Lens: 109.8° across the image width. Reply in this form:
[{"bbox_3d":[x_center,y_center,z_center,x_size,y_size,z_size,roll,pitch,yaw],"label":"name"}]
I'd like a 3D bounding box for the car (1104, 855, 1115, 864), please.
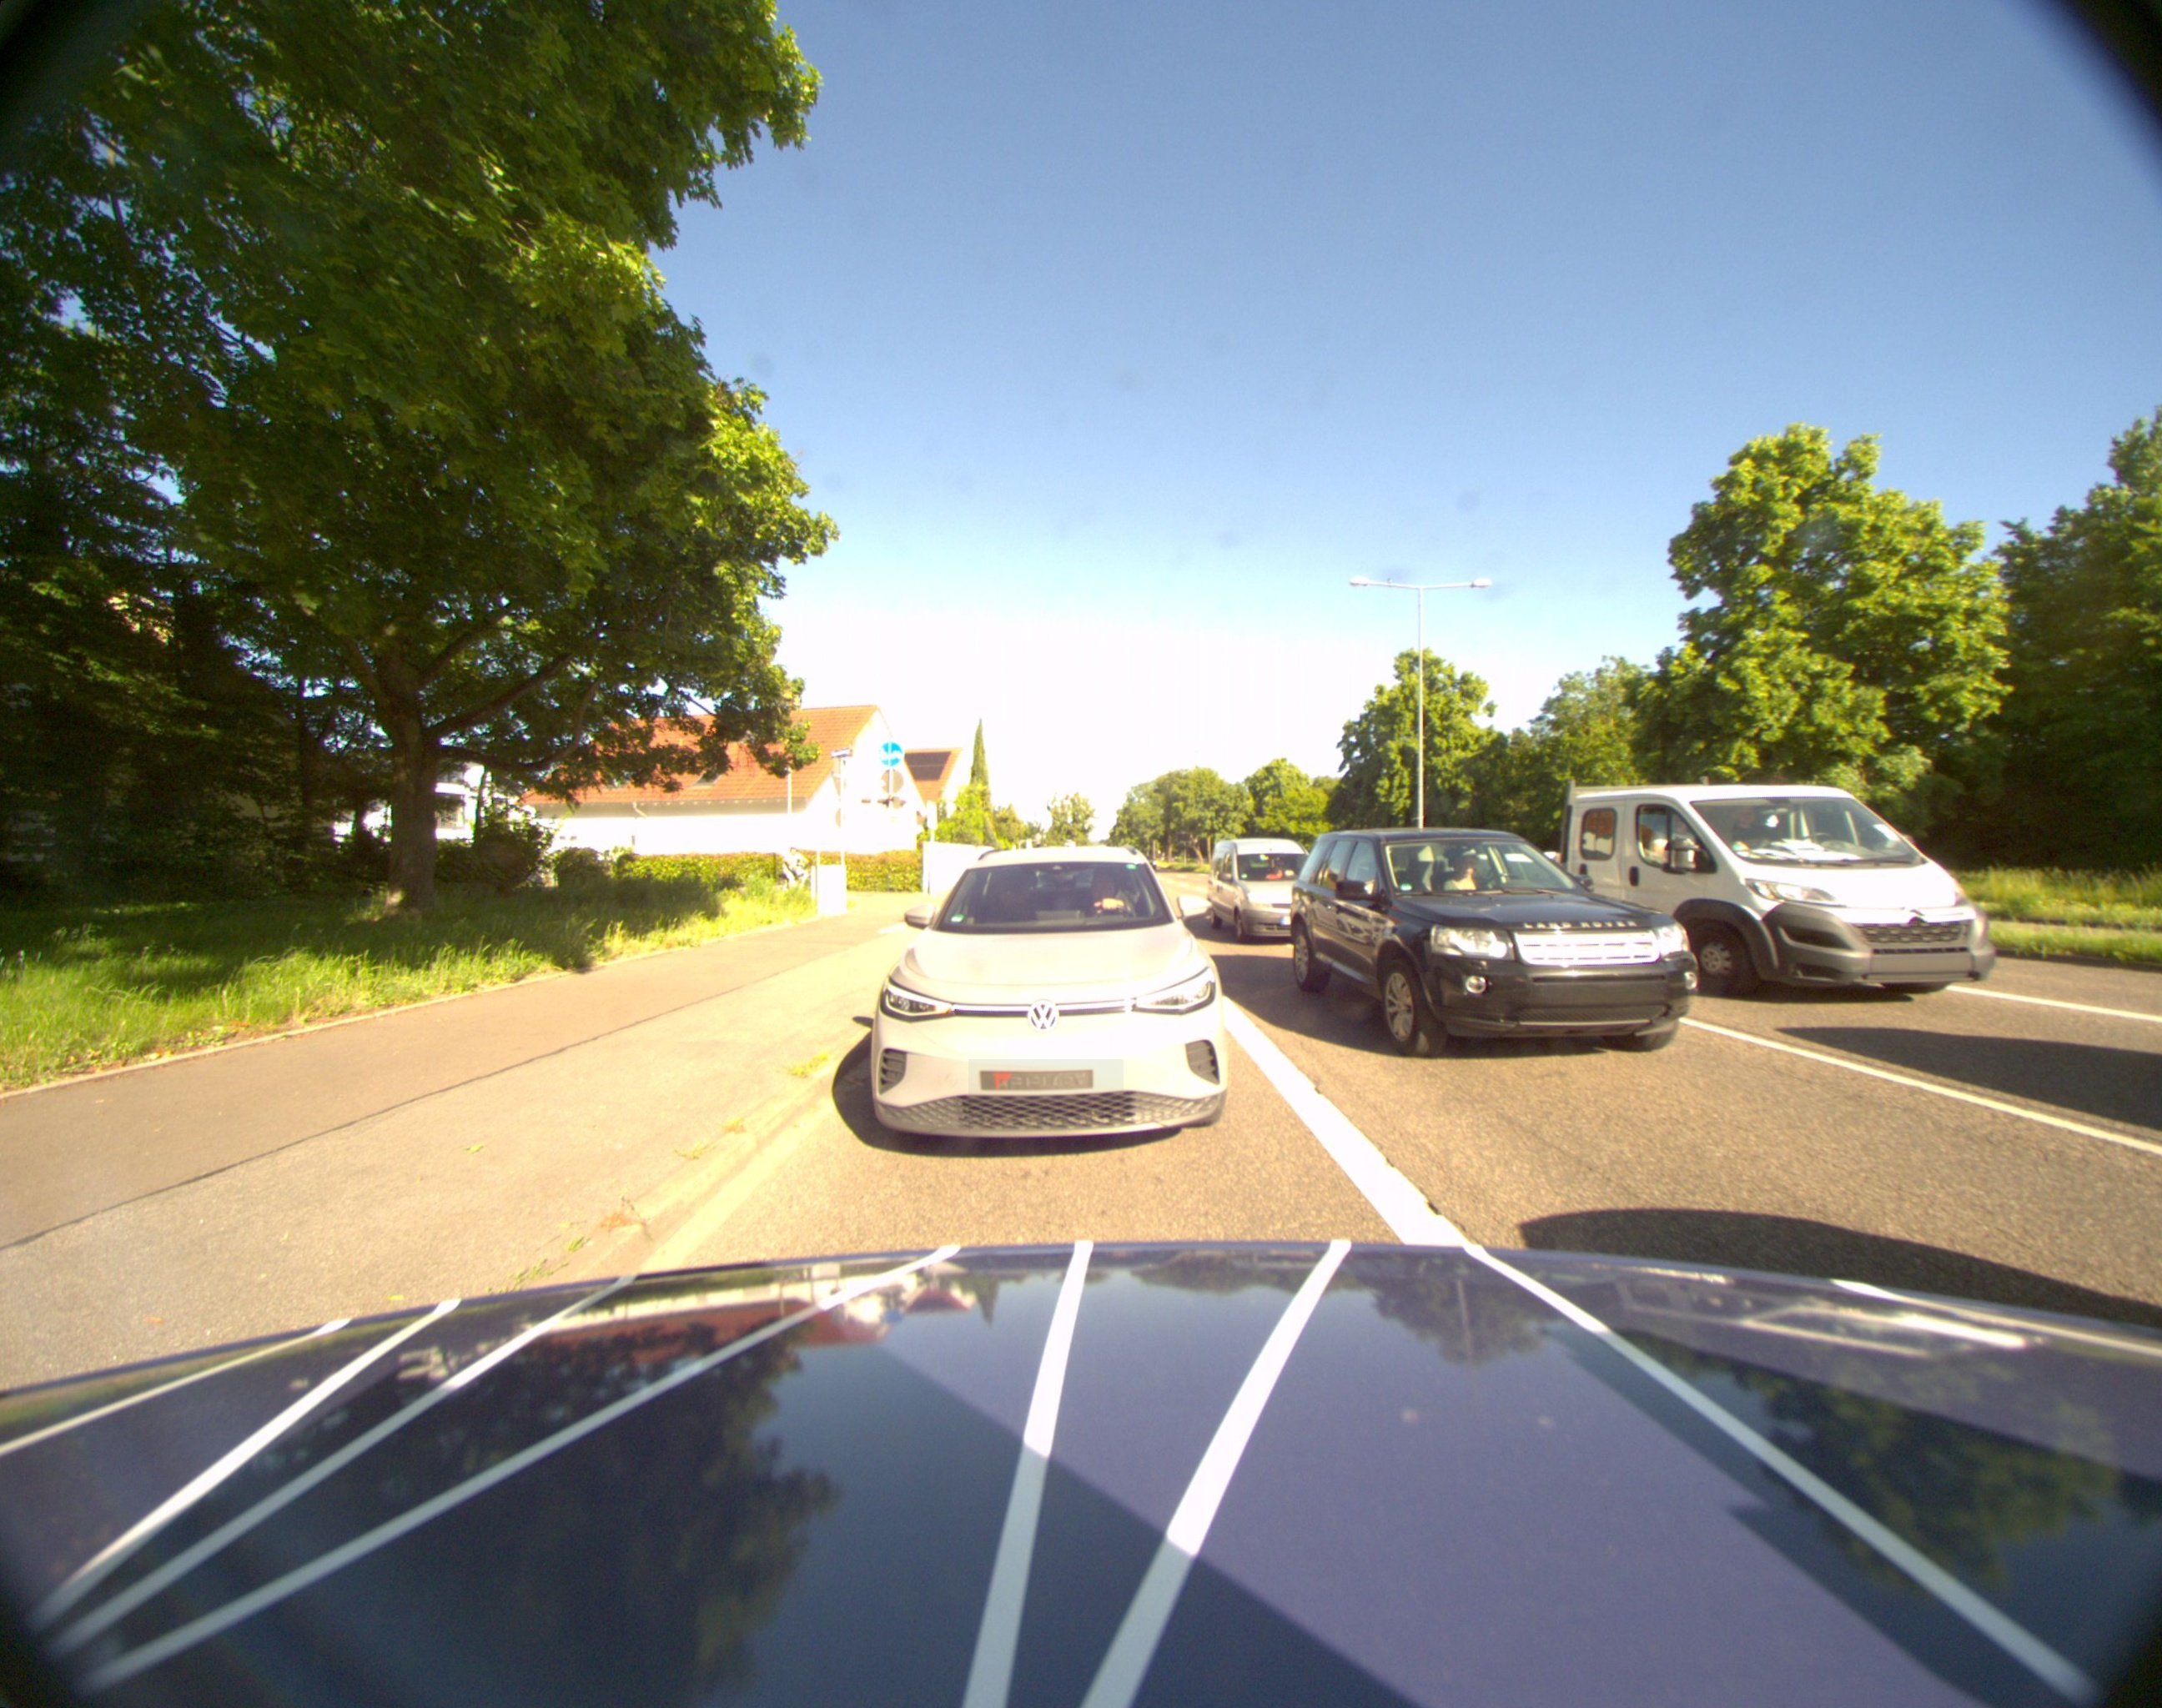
[{"bbox_3d":[4.560,0.857,121.686,1.630,1.466,3.931,-1,0,0],"label":"car"}]

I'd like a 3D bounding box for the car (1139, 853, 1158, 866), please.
[{"bbox_3d":[7.440,0.592,83.728,1.704,1.466,3.931,-1,0,0],"label":"car"}]

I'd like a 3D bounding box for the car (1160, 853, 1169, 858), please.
[{"bbox_3d":[20.887,0.357,190.852,1.792,1.409,4.000,0,0,1],"label":"car"}]

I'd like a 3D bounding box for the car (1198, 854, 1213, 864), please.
[{"bbox_3d":[20.817,0.854,126.702,1.878,1.674,4.000,0,0,1],"label":"car"}]

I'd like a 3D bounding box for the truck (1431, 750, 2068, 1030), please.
[{"bbox_3d":[7.211,0.267,9.816,2.185,2.307,6.842,-2,1,0],"label":"truck"}]

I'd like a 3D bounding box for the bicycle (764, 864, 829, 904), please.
[{"bbox_3d":[-8.678,0.907,23.128,1.982,1.091,0.582,3,-1,26],"label":"bicycle"}]

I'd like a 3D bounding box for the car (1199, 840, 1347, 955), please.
[{"bbox_3d":[3.324,0.652,13.973,1.632,1.741,4.386,-2,1,1],"label":"car"}]

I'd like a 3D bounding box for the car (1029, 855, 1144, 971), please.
[{"bbox_3d":[0.108,0.865,13.027,1.632,1.586,4.024,-2,1,1],"label":"car"}]

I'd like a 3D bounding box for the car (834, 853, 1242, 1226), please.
[{"bbox_3d":[-0.171,0.848,5.584,1.858,1.679,4.206,0,1,1],"label":"car"}]

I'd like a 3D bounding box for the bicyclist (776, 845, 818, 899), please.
[{"bbox_3d":[-8.660,0.550,23.134,0.994,1.571,0.582,3,-1,26],"label":"bicyclist"}]

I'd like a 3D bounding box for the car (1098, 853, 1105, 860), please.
[{"bbox_3d":[4.856,0.580,180.508,1.726,1.630,4.000,0,0,1],"label":"car"}]

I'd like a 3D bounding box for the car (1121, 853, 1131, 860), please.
[{"bbox_3d":[9.389,0.482,157.559,1.727,1.436,3.999,0,0,-1],"label":"car"}]

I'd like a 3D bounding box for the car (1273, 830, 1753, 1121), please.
[{"bbox_3d":[3.164,0.714,6.779,1.816,1.721,4.386,-2,1,1],"label":"car"}]

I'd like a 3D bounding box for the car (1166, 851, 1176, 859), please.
[{"bbox_3d":[20.355,0.247,171.507,1.792,1.674,4.000,0,0,1],"label":"car"}]
